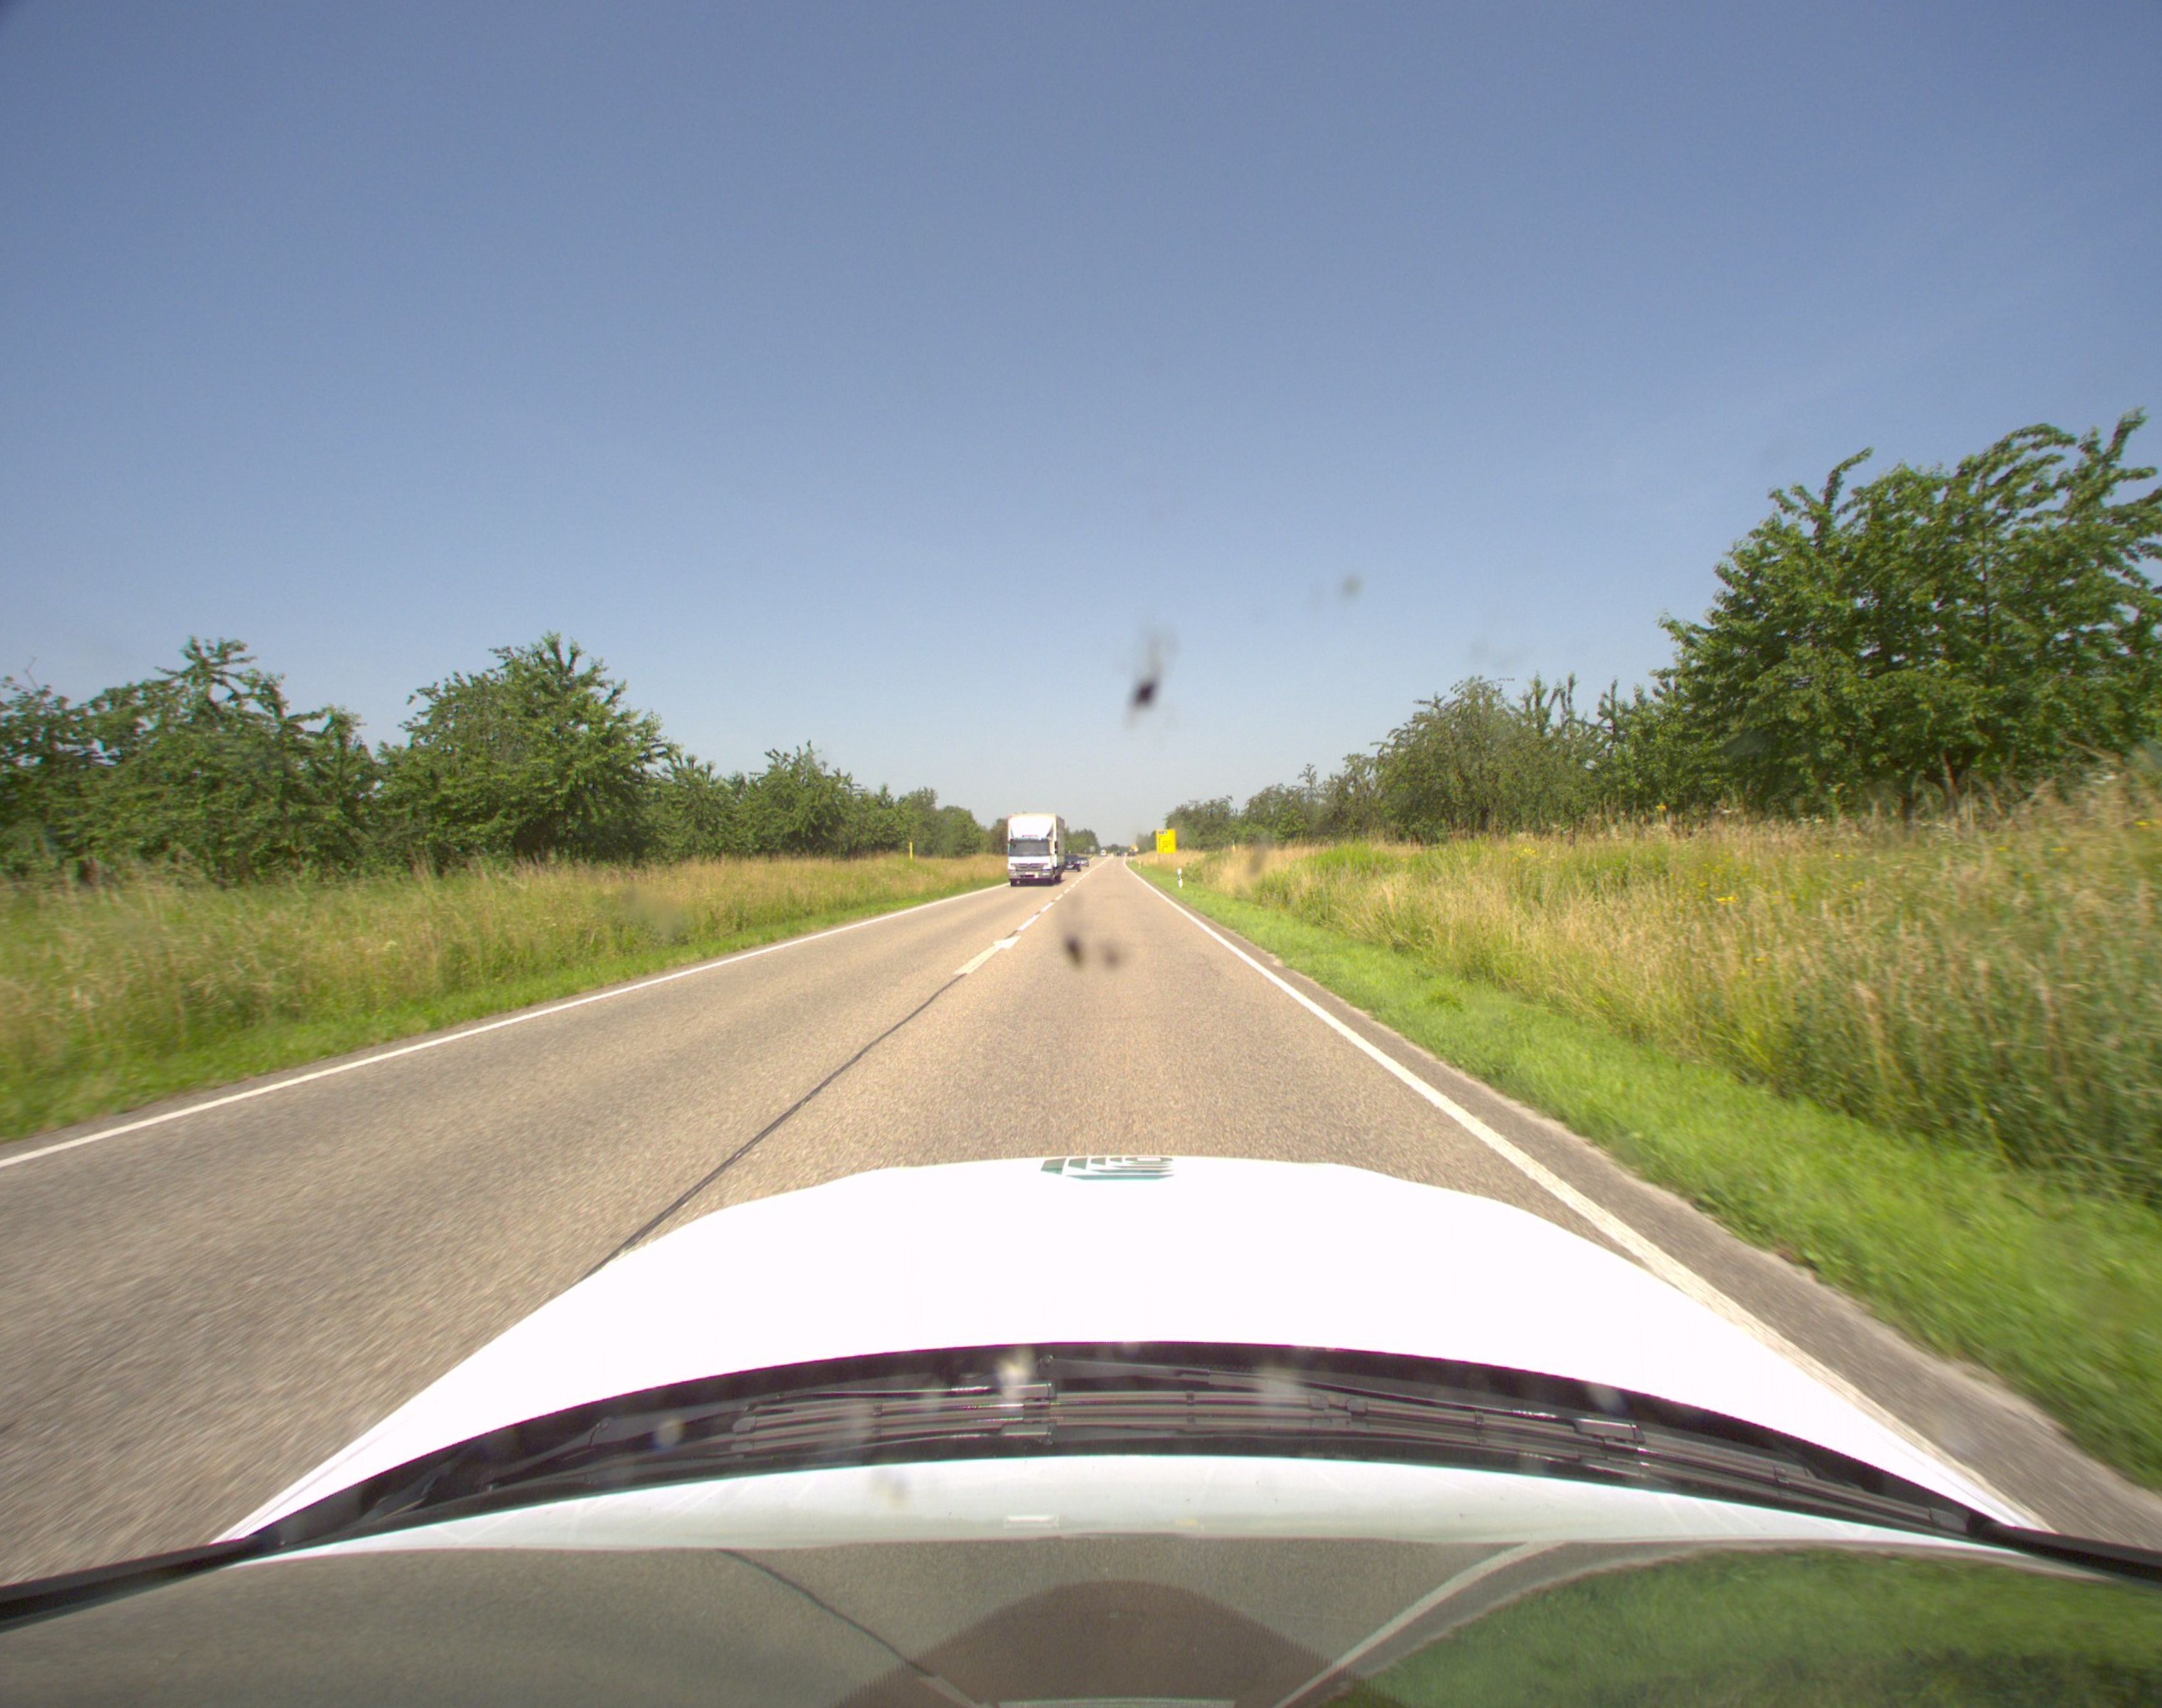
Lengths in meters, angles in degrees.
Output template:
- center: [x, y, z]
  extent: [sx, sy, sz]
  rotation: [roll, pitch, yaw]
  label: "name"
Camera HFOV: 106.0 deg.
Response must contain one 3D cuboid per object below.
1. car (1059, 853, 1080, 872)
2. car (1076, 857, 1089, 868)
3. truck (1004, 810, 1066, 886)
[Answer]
- center: [-1.067, 0.791, 77.367]
  extent: [1.829, 1.678, 4.412]
  rotation: [-1, 0, 1]
  label: "car"
- center: [0.193, 1.160, 112.411]
  extent: [1.684, 1.409, 4.895]
  rotation: [-1, 0, 1]
  label: "car"
- center: [-2.440, -0.287, 46.562]
  extent: [2.655, 3.839, 10.212]
  rotation: [-1, 0, 2]
  label: "truck"
